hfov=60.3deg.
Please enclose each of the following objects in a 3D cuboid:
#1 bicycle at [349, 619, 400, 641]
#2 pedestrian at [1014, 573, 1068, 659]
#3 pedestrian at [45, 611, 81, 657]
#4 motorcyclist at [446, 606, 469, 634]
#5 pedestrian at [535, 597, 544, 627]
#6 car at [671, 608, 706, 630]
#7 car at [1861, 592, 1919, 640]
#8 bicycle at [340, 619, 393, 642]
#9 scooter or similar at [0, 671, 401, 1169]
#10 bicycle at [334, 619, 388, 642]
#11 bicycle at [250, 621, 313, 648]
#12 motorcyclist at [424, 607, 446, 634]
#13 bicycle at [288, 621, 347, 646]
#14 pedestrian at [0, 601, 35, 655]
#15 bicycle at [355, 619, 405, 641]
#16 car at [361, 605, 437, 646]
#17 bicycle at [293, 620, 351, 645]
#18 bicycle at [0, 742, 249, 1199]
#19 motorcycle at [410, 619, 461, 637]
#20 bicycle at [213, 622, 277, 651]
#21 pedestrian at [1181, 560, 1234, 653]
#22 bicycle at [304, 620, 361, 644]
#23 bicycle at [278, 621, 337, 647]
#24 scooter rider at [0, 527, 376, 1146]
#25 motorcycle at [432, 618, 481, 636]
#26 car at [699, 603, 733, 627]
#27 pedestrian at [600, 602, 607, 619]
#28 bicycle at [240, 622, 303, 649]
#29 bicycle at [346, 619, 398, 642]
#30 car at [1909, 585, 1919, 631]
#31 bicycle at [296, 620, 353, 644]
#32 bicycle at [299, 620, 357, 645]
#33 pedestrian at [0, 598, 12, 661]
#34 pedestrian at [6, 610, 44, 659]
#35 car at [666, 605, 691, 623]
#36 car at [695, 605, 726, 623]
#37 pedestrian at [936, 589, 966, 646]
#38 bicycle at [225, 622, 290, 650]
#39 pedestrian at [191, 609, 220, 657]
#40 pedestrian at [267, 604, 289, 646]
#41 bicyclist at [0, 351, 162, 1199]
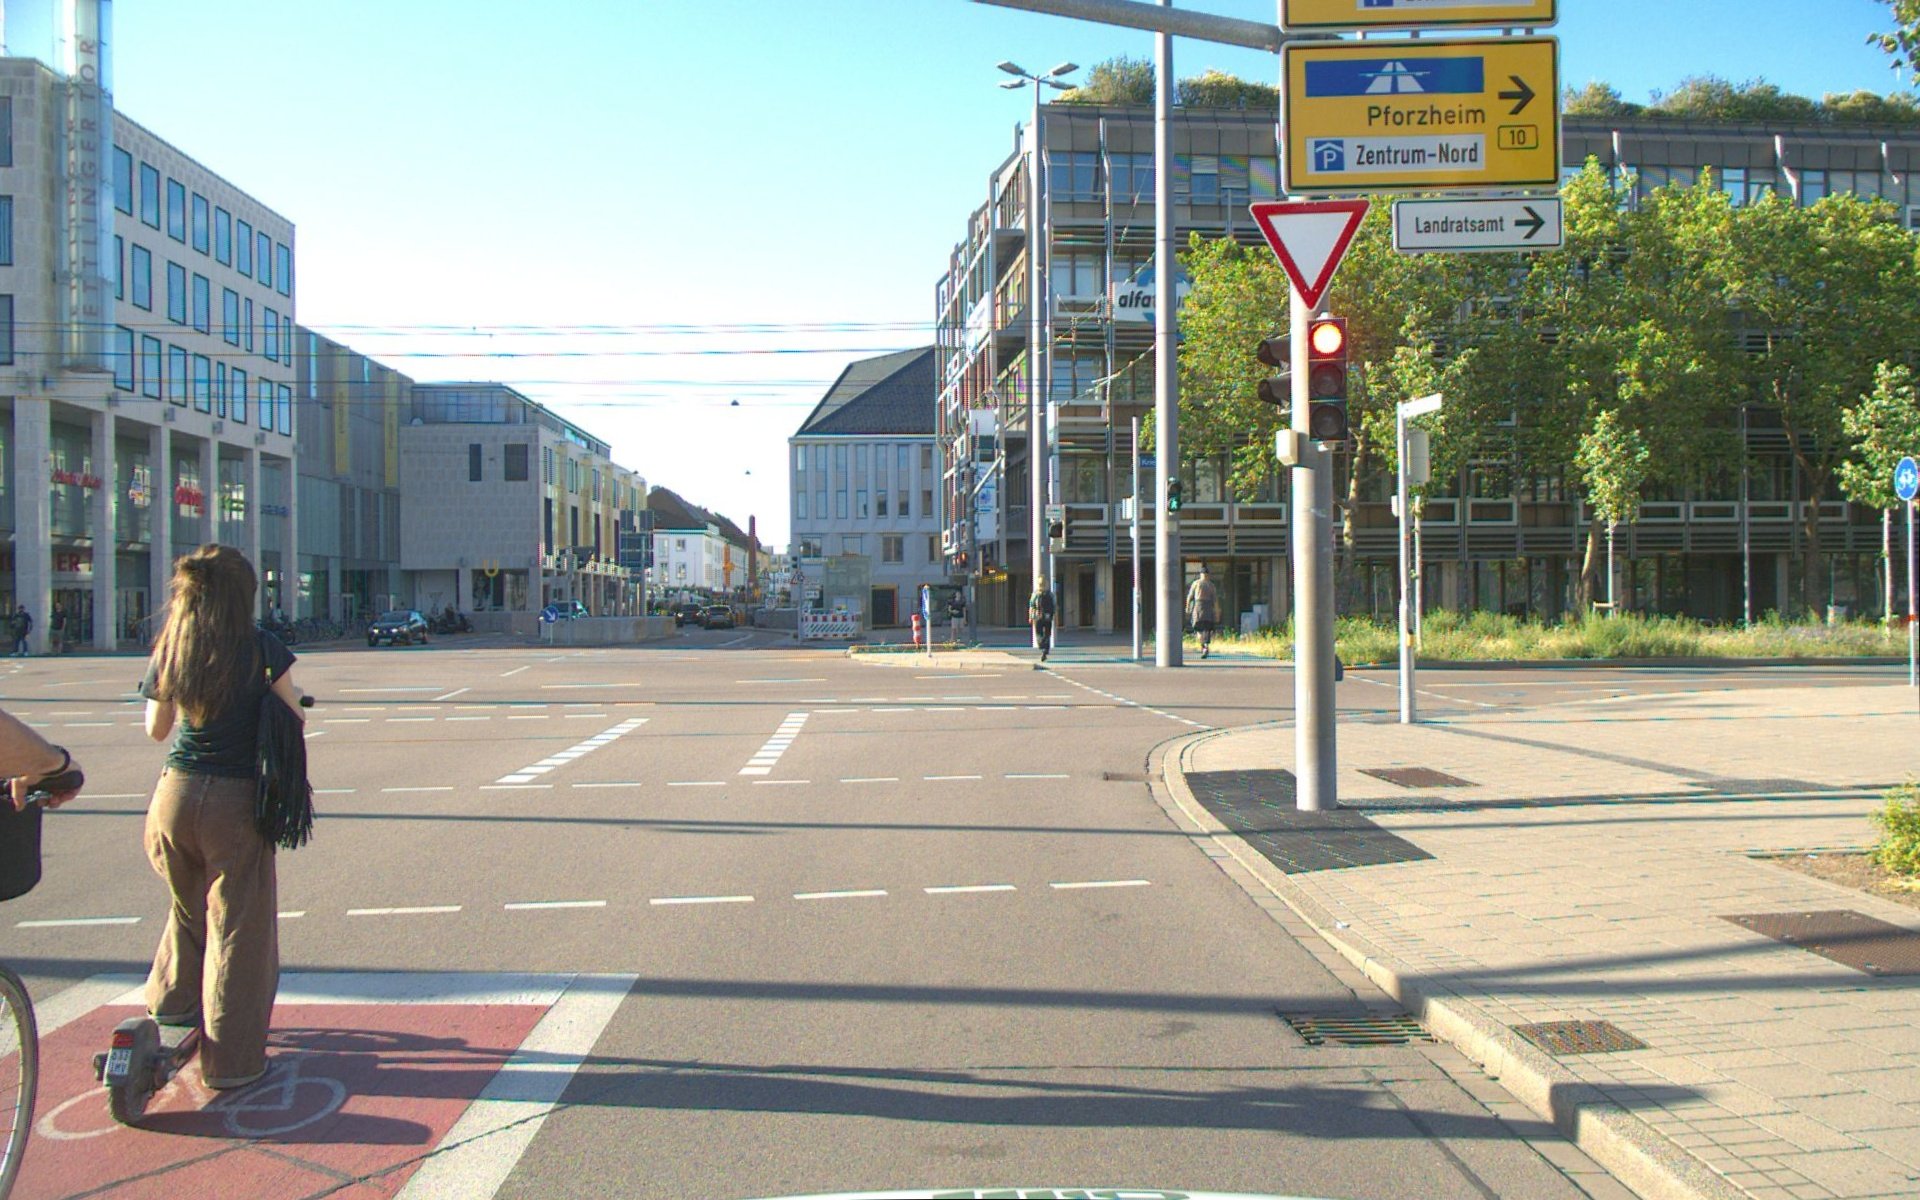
[{"bbox_3d":[-30.381,1.563,85.784,2.417,1.130,0.631,-1,0,0],"label":"bicycle"},{"bbox_3d":[1.518,0.284,31.075,0.879,1.576,0.922,-1,1,-7],"label":"pedestrian"},{"bbox_3d":[-31.120,1.173,57.370,0.938,1.598,0.828,0,0,-44],"label":"pedestrian"},{"bbox_3d":[-29.581,1.169,97.348,1.115,1.602,0.915,1,-1,-8],"label":"motorcyclist"},{"bbox_3d":[-29.467,0.850,115.888,0.606,2.049,0.476,1,-1,-16],"label":"pedestrian"},{"bbox_3d":[-22.253,1.569,135.728,2.130,1.722,5.485,0,-1,-1],"label":"car"},{"bbox_3d":[33.212,0.534,56.559,3.791,1.512,1.844,-1,-3,-4],"label":"car"},{"bbox_3d":[-30.258,1.544,84.339,2.417,1.130,0.660,-1,0,0],"label":"bicycle"},{"bbox_3d":[-2.205,0.845,4.957,0.629,1.196,1.482,1,0,-4],"label":"scooter or similar"},{"bbox_3d":[-30.232,1.545,83.488,2.417,1.130,0.835,-1,0,0],"label":"bicycle"},{"bbox_3d":[-29.381,1.502,71.617,2.417,1.130,0.684,-1,0,0],"label":"bicycle"},{"bbox_3d":[-29.810,1.179,93.859,1.017,1.497,0.915,1,0,-8],"label":"motorcyclist"},{"bbox_3d":[-29.600,1.529,76.188,2.417,1.130,0.684,-1,0,0],"label":"bicycle"},{"bbox_3d":[-36.036,1.063,63.264,0.898,2.049,1.020,0,0,-13],"label":"pedestrian"},{"bbox_3d":[-30.429,1.556,86.788,2.417,1.130,0.660,-1,0,0],"label":"bicycle"},{"bbox_3d":[-23.579,1.045,69.656,1.899,1.608,4.292,-1,0,-3],"label":"car"},{"bbox_3d":[-29.675,1.524,76.963,2.417,1.130,0.684,-1,0,0],"label":"bicycle"},{"bbox_3d":[-1.966,0.893,2.925,0.692,1.113,1.799,-1,0,-2],"label":"bicycle"},{"bbox_3d":[-29.737,1.586,93.878,2.617,1.013,0.915,1,0,-8],"label":"motorcycle"},{"bbox_3d":[-29.436,1.510,68.096,2.354,1.132,0.658,-1,0,-1],"label":"bicycle"},{"bbox_3d":[4.778,0.119,31.977,0.839,1.774,0.738,-1,1,-9],"label":"pedestrian"},{"bbox_3d":[-30.346,1.531,79.981,2.417,1.130,0.835,-1,0,0],"label":"bicycle"},{"bbox_3d":[-29.572,1.523,74.963,2.417,1.130,0.593,-1,0,0],"label":"bicycle"},{"bbox_3d":[-2.179,0.602,4.780,0.629,1.571,1.116,1,0,-4],"label":"scooter rider"},{"bbox_3d":[-29.611,1.603,97.329,2.617,1.013,0.915,1,0,-8],"label":"motorcycle"},{"bbox_3d":[-15.935,0.979,108.009,1.898,1.475,4.258,0,-1,-4],"label":"car"},{"bbox_3d":[-28.466,0.854,132.200,0.479,1.380,0.563,1,-1,-7],"label":"pedestrian"},{"bbox_3d":[-29.461,1.506,70.806,2.416,1.130,0.684,-1,0,1],"label":"bicycle"},{"bbox_3d":[-30.248,1.553,85.113,2.417,1.130,0.660,-1,0,0],"label":"bicycle"},{"bbox_3d":[38.421,0.312,62.018,4.764,1.709,1.996,0,1,-10],"label":"car"},{"bbox_3d":[-30.234,1.527,78.732,2.417,1.130,0.684,-1,0,0],"label":"bicycle"},{"bbox_3d":[-29.706,1.526,77.781,2.417,1.130,0.835,-1,0,0],"label":"bicycle"},{"bbox_3d":[-33.317,1.020,56.896,1.053,2.166,1.082,0,0,-40],"label":"pedestrian"},{"bbox_3d":[-32.841,1.199,58.091,0.999,1.680,0.934,0,0,-43],"label":"pedestrian"},{"bbox_3d":[-29.377,1.461,172.737,2.131,1.906,5.609,0,-1,-5],"label":"car"},{"bbox_3d":[-24.062,1.388,159.706,2.130,1.722,5.614,0,-1,-1],"label":"car"},{"bbox_3d":[-0.295,0.612,57.259,0.991,1.944,1.051,0,0,1],"label":"pedestrian"},{"bbox_3d":[-29.482,1.518,69.441,2.417,1.130,0.684,-1,0,-1],"label":"bicycle"},{"bbox_3d":[-28.023,1.210,61.442,0.736,1.770,0.756,0,0,-3],"label":"pedestrian"},{"bbox_3d":[-33.208,1.205,80.546,0.933,2.017,1.000,0,0,-25],"label":"pedestrian"},{"bbox_3d":[-1.978,0.428,2.999,0.685,1.698,0.786,-1,0,-3],"label":"bicyclist"}]
